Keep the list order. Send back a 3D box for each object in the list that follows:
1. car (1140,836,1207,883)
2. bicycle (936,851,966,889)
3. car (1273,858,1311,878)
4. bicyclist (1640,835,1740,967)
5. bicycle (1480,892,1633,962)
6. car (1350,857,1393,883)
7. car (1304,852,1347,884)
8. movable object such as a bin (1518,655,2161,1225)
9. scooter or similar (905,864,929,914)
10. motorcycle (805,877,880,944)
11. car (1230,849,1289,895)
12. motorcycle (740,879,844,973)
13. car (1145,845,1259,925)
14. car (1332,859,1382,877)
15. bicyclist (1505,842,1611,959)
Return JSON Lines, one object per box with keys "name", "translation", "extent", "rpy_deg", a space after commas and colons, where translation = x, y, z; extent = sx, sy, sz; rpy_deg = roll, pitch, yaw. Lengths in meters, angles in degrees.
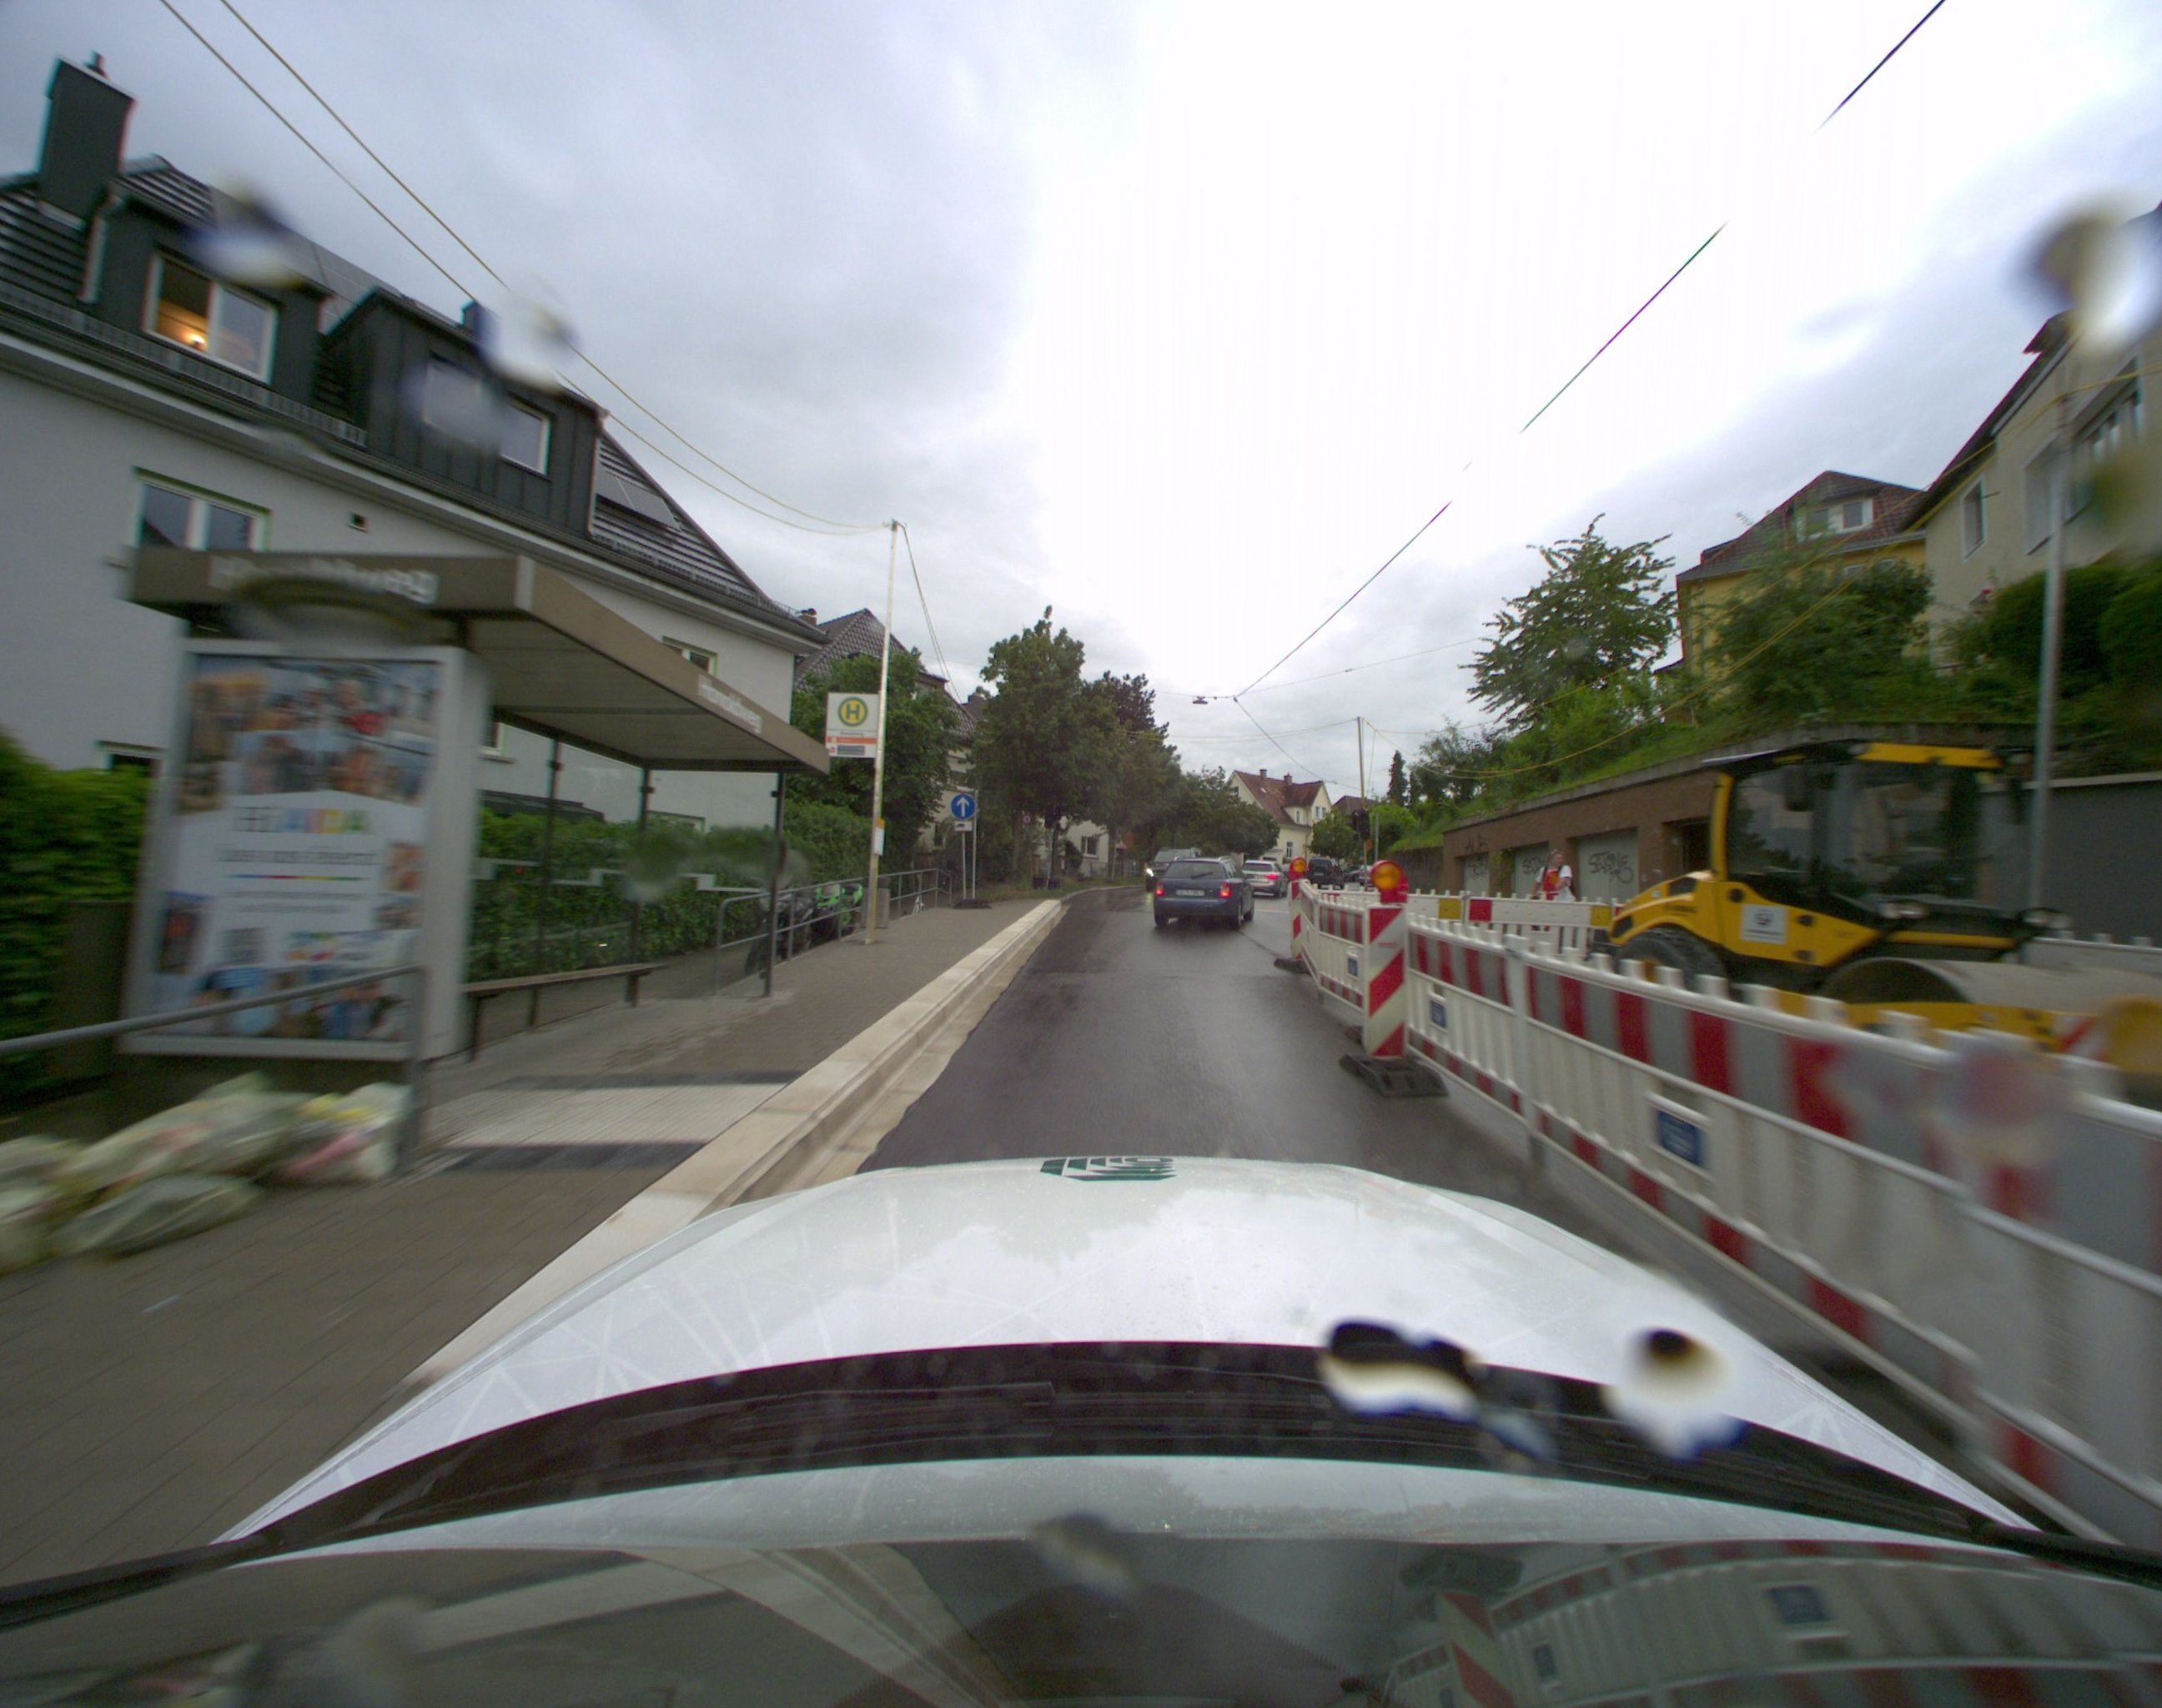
{"name": "car", "translation": [4.118, 0.256, 35.296], "extent": [1.881, 1.889, 5.176], "rpy_deg": [0, -1, 18]}
{"name": "bicycle", "translation": [-4.657, 0.543, 29.290], "extent": [0.488, 1.271, 2.276], "rpy_deg": [3, 1, 5]}
{"name": "car", "translation": [16.217, 1.101, 62.473], "extent": [1.654, 1.466, 3.919], "rpy_deg": [-1, -2, 33]}
{"name": "bicyclist", "translation": [8.450, 0.614, 11.340], "extent": [1.063, 1.728, 0.939], "rpy_deg": [1, -1, 36]}
{"name": "bicycle", "translation": [7.332, 1.119, 12.618], "extent": [1.876, 0.981, 0.930], "rpy_deg": [1, -1, -7]}
{"name": "car", "translation": [21.258, 1.123, 59.483], "extent": [1.717, 1.769, 4.262], "rpy_deg": [1, 0, 38]}
{"name": "car", "translation": [14.980, 0.818, 49.802], "extent": [1.717, 1.768, 4.261], "rpy_deg": [-1, 1, 27]}
{"name": "movable object such as a bin", "translation": [6.194, 0.419, 6.889], "extent": [2.078, 2.838, 5.680], "rpy_deg": [1, 0, 2]}
{"name": "scooter or similar", "translation": [-3.721, 0.780, 18.537], "extent": [0.323, 1.080, 1.095], "rpy_deg": [-1, 0, -1]}
{"name": "motorcycle", "translation": [-3.837, 0.879, 13.267], "extent": [0.665, 0.933, 2.009], "rpy_deg": [0, 0, -2]}
{"name": "car", "translation": [7.328, 0.682, 33.149], "extent": [1.960, 1.635, 4.254], "rpy_deg": [-1, 1, 17]}
{"name": "motorcycle", "translation": [-3.773, 0.894, 10.830], "extent": [0.665, 1.036, 2.151], "rpy_deg": [0, 0, -2]}
{"name": "car", "translation": [2.726, 0.585, 17.544], "extent": [1.719, 1.466, 4.019], "rpy_deg": [-1, 1, 19]}
{"name": "car", "translation": [24.181, 1.224, 71.150], "extent": [4.929, 1.545, 1.851], "rpy_deg": [1, -1, -40]}
{"name": "bicyclist", "translation": [7.375, 0.702, 12.634], "extent": [1.072, 1.728, 0.931], "rpy_deg": [1, -1, -7]}
